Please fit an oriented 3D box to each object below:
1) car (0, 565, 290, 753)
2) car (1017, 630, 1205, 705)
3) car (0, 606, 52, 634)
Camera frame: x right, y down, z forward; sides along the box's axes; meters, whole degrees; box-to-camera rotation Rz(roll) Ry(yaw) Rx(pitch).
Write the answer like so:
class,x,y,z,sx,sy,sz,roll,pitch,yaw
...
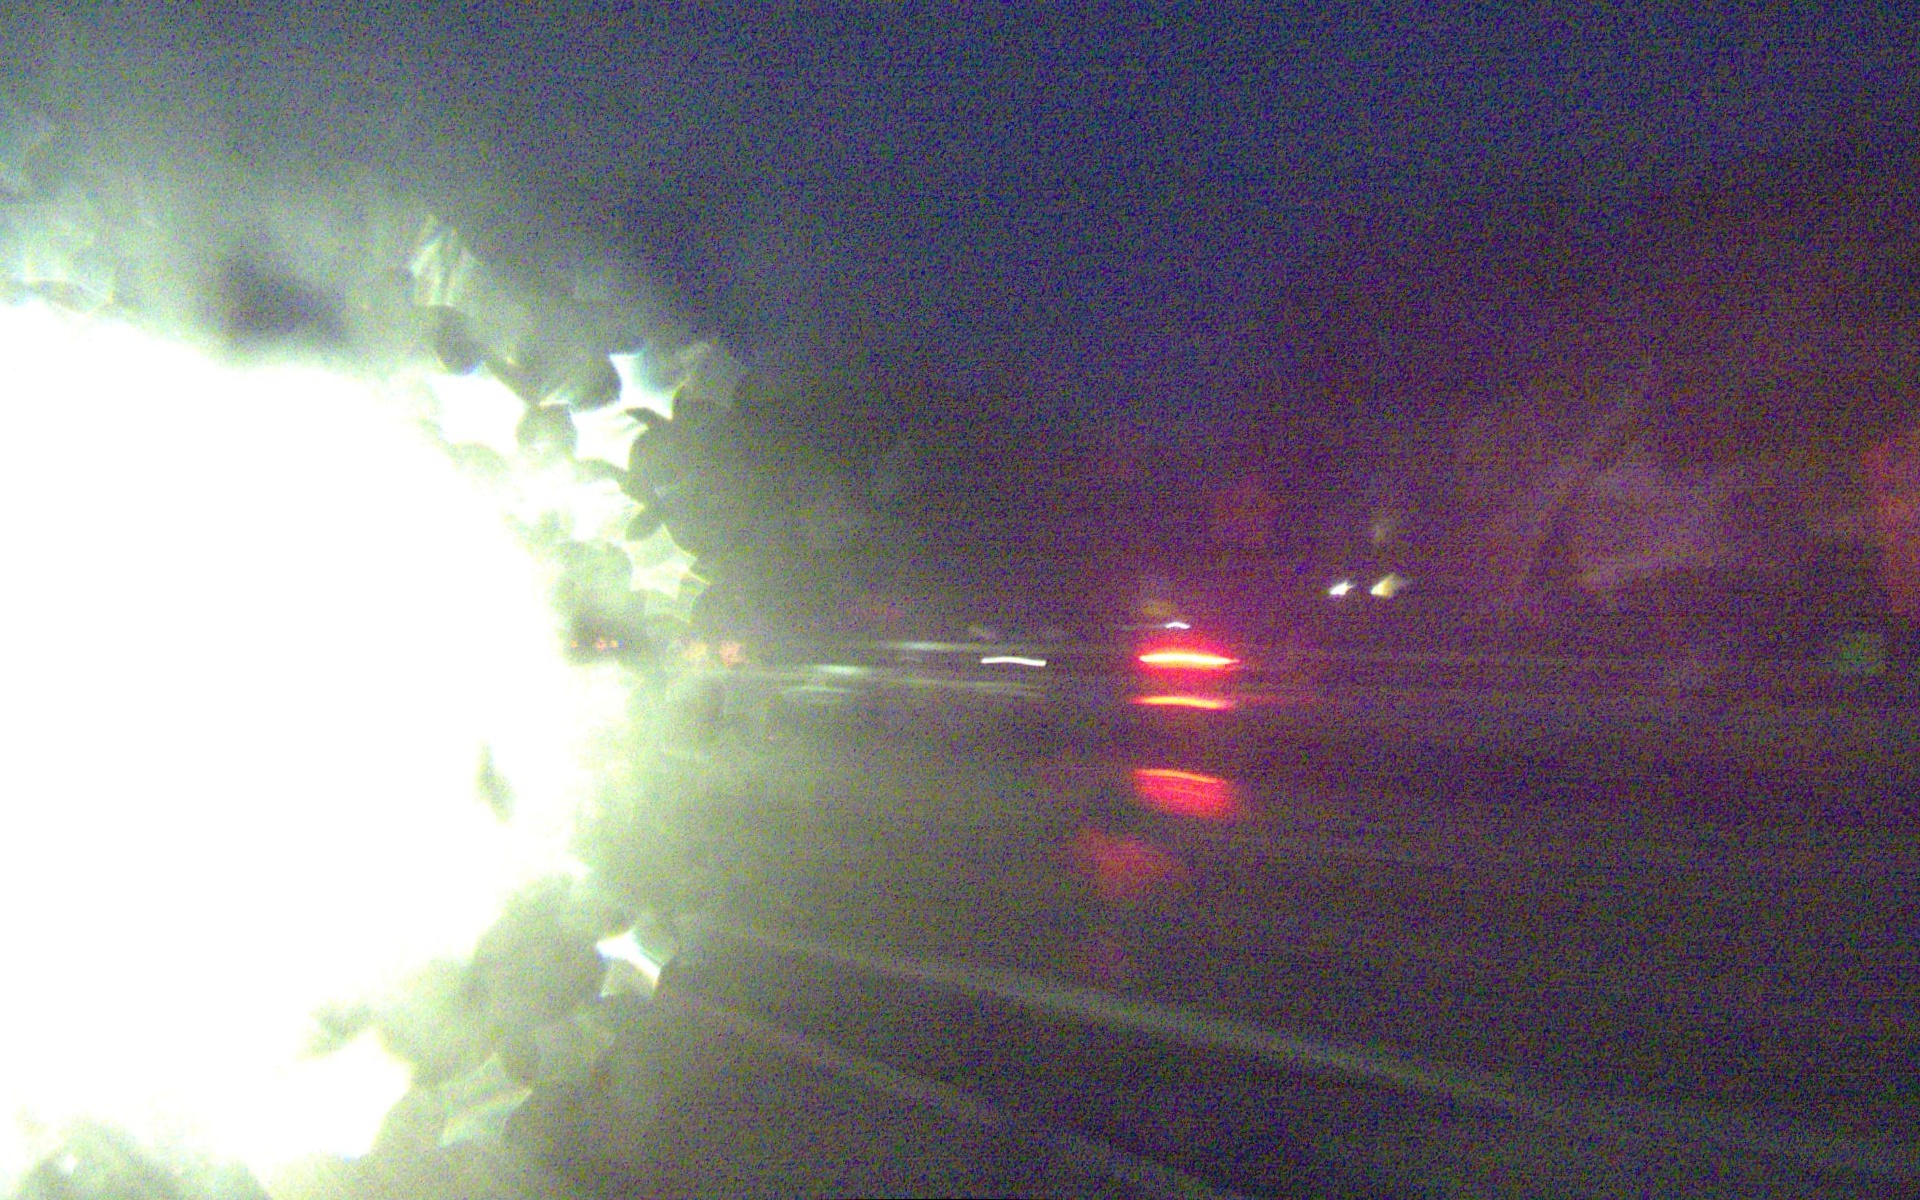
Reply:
class,x,y,z,sx,sy,sz,roll,pitch,yaw
car,-10.943,0.728,13.396,4.449,2.121,1.736,0,-4,33
car,3.420,1.485,23.115,3.880,1.485,1.770,0,-2,33
car,-72.292,1.545,78.320,4.799,2.029,1.976,0,-2,35
